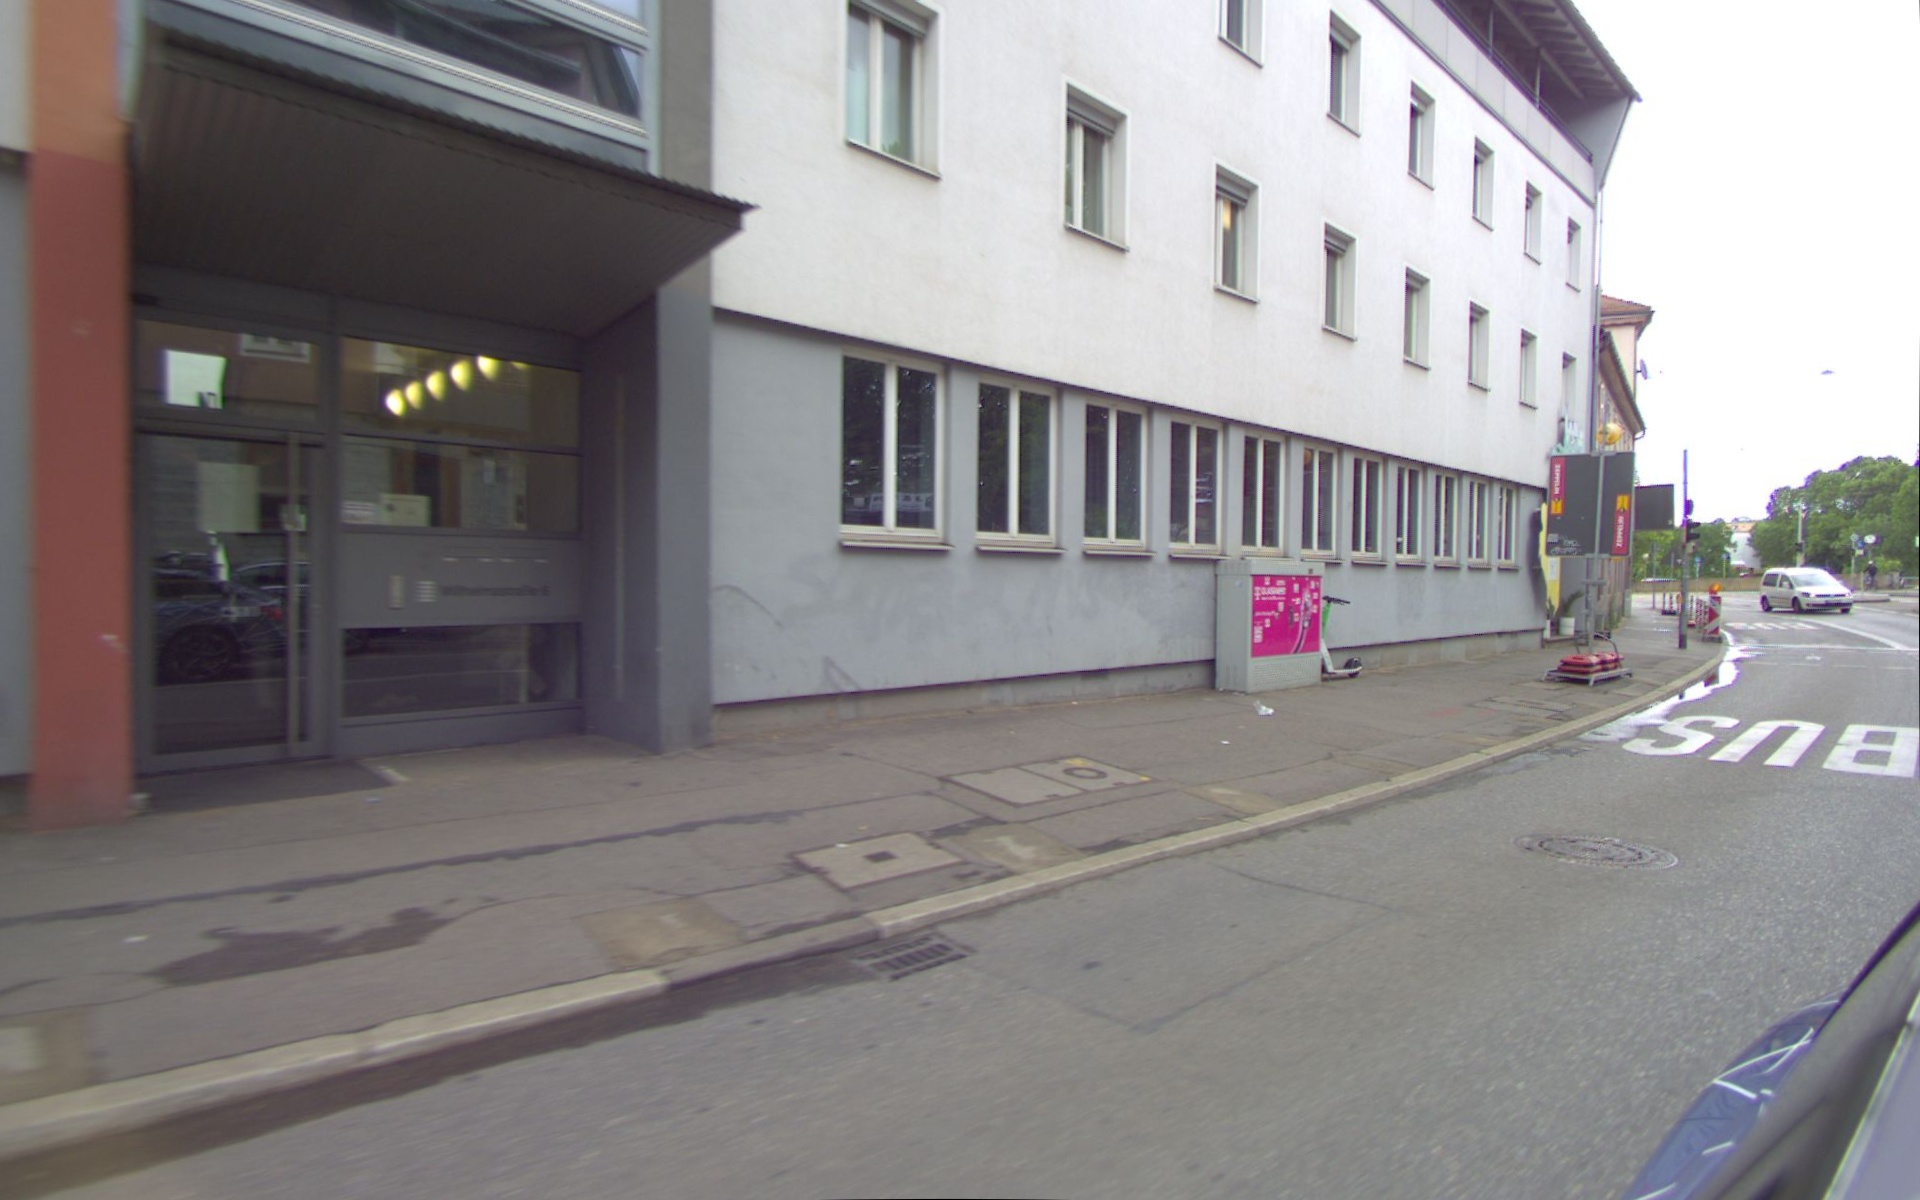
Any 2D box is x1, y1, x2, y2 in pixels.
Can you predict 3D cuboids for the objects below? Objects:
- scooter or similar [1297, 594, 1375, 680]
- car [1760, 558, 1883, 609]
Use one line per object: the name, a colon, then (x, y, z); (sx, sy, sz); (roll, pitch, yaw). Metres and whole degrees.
scooter or similar: (5.241, 0.488, 14.067); (1.415, 1.110, 0.429); (0, 2, -44)
car: (34.769, -0.721, 41.002); (2.045, 1.807, 4.438); (-3, 2, 16)
